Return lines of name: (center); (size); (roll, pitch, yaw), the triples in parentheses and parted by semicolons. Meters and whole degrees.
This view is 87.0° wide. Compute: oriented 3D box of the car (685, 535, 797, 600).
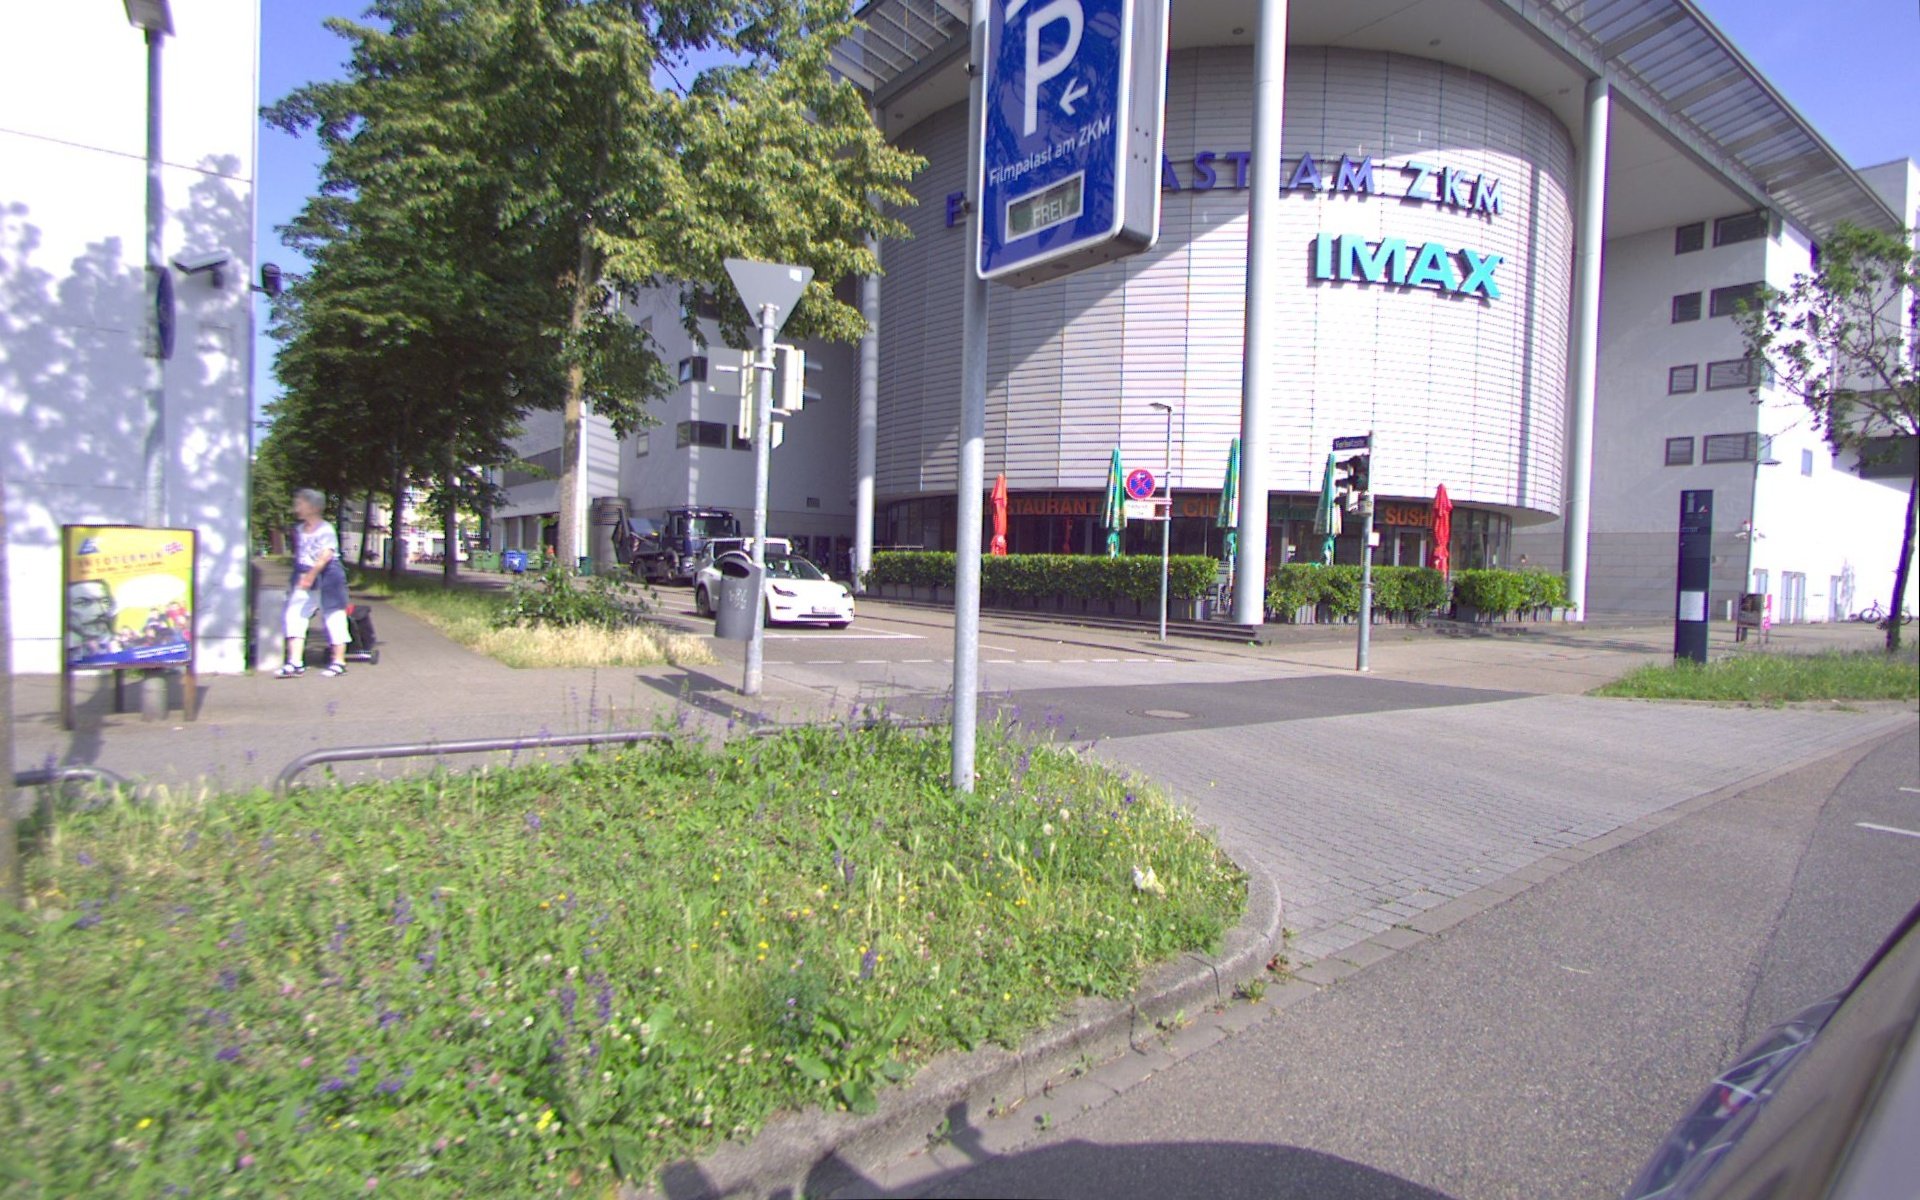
car: (-7.577, -1.133, 34.676); (2.030, 2.038, 4.899); (1, 2, -34)

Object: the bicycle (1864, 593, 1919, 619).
bicycle: (42.646, 0.270, 46.153); (0.662, 1.116, 2.017); (2, 1, -31)

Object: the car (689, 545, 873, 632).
car: (-3.681, -0.280, 20.213); (1.865, 1.483, 4.335); (2, 1, -36)

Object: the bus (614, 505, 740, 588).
bus: (-12.196, -2.262, 43.088); (2.441, 3.187, 7.845); (1, 2, -37)

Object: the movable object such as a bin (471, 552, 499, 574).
movable object such as a bin: (-28.570, -2.216, 60.814); (1.183, 1.265, 2.214); (2, 2, -34)

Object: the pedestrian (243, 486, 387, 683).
pedestrian: (-5.663, -0.145, 8.911); (0.703, 1.636, 0.776); (2, 1, 15)

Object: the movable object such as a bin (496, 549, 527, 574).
movable object such as a bin: (-24.691, -2.138, 55.653); (1.183, 1.265, 2.214); (2, 2, -34)

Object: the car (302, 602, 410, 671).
car: (-5.809, 0.335, 9.757); (0.491, 0.595, 0.764); (2, 1, 16)
